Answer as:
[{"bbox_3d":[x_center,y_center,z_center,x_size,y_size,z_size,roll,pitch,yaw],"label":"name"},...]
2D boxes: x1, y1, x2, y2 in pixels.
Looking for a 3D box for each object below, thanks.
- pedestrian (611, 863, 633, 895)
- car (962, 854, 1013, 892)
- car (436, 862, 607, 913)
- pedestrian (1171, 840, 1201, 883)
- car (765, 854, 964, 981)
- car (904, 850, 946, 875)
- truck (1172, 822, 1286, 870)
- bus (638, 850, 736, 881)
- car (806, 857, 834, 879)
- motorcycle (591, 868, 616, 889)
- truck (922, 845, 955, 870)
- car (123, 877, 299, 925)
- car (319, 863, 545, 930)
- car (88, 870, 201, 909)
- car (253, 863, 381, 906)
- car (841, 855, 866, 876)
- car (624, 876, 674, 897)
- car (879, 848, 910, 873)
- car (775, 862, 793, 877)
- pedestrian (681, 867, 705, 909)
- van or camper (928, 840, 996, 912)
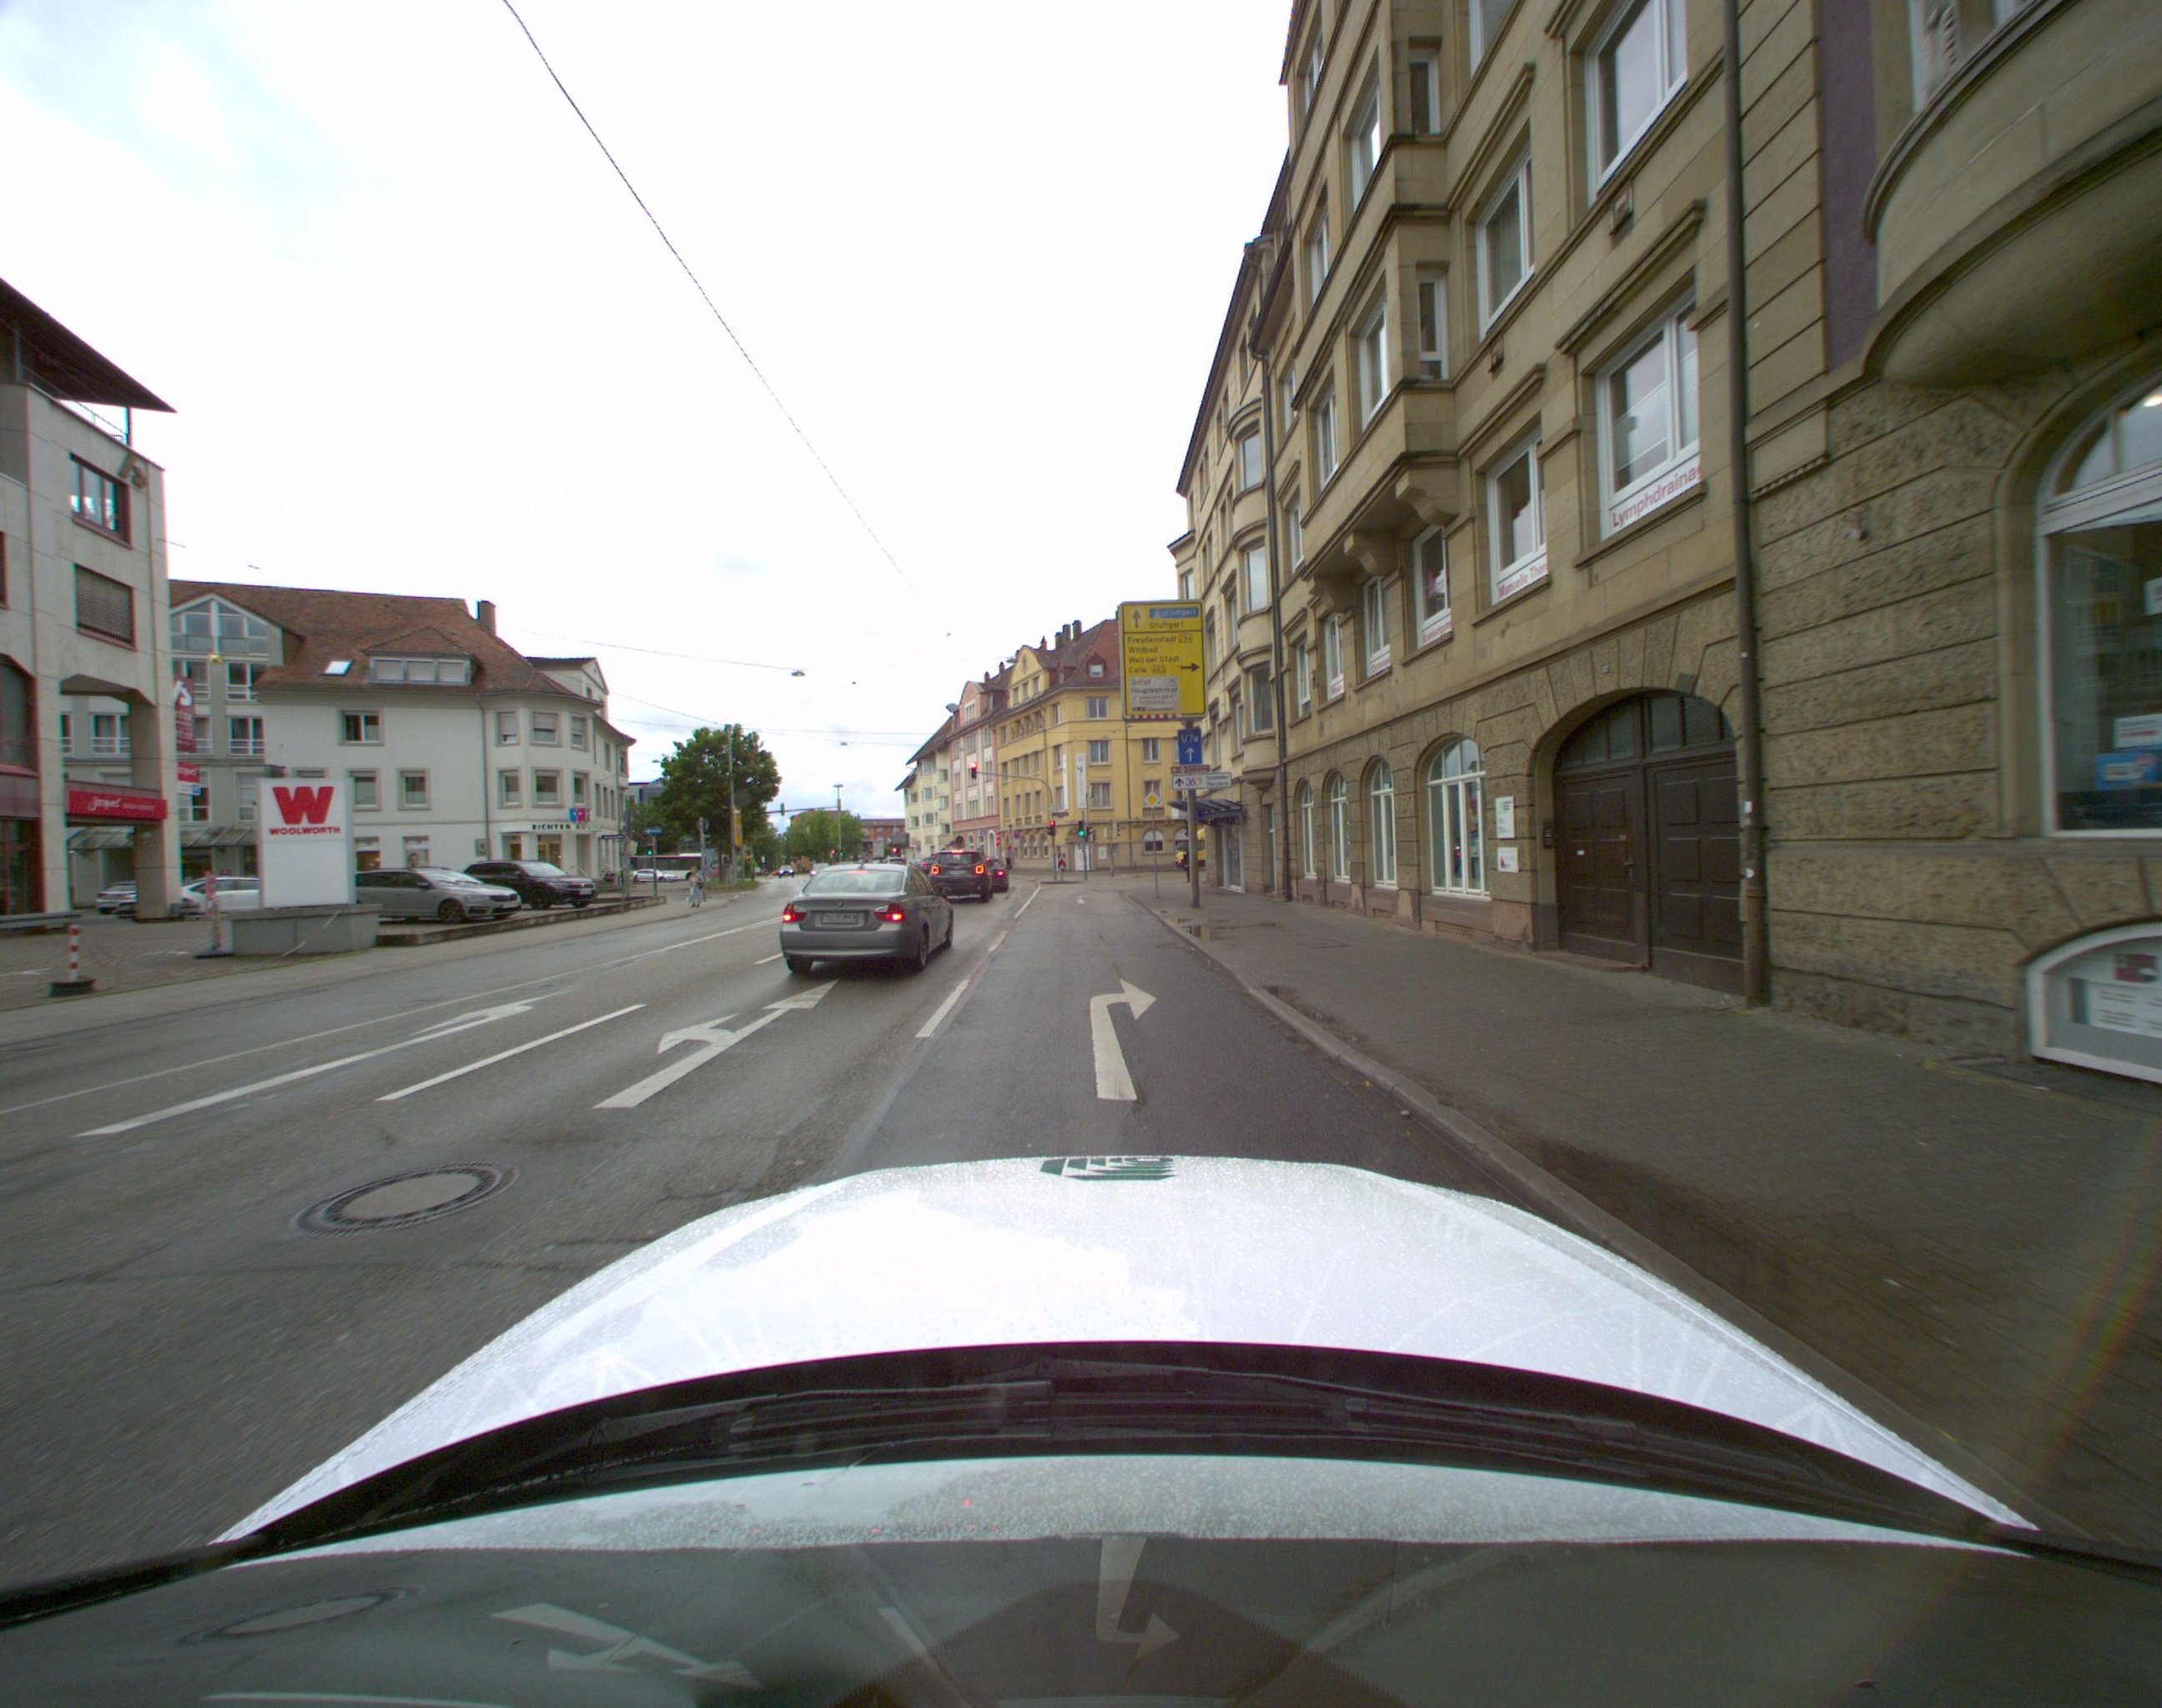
[{"bbox_3d":[-25.526,1.398,45.316,0.967,1.708,0.926,-2,1,-26],"label":"pedestrian"},{"bbox_3d":[-3.733,0.718,33.144,1.799,1.406,4.677,-1,0,-4],"label":"car"},{"bbox_3d":[-18.306,1.076,26.750,4.394,1.506,1.958,-1,0,7],"label":"car"},{"bbox_3d":[4.758,0.319,36.934,1.048,1.903,1.030,-2,1,21],"label":"pedestrian"},{"bbox_3d":[-2.877,0.767,11.841,1.794,1.464,4.368,-1,-1,-2],"label":"car"},{"bbox_3d":[-12.049,0.641,62.560,2.006,1.816,3.963,-2,0,-29],"label":"car"},{"bbox_3d":[9.734,-0.519,53.948,7.072,2.851,2.081,-2,0,-2],"label":"truck"},{"bbox_3d":[-42.334,1.168,87.701,9.086,3.105,2.917,1,1,-1],"label":"bus"},{"bbox_3d":[-20.730,1.068,64.614,1.852,1.684,3.970,0,0,-23],"label":"car"},{"bbox_3d":[-30.273,1.530,51.686,0.721,1.178,2.575,-2,1,-16],"label":"motorcycle"},{"bbox_3d":[-14.042,0.344,80.032,2.037,2.389,4.200,-1,1,-26],"label":"truck"},{"bbox_3d":[-29.576,1.554,27.857,1.566,1.500,3.773,-2,-2,14],"label":"car"},{"bbox_3d":[-17.226,1.104,21.790,4.432,1.526,1.885,-2,0,-1],"label":"car"},{"bbox_3d":[-43.510,1.611,37.962,1.877,1.590,3.969,-2,1,-23],"label":"car"},{"bbox_3d":[-36.900,1.425,39.451,4.004,1.815,1.985,-2,1,-23],"label":"car"},{"bbox_3d":[-23.619,1.179,84.609,2.002,2.013,3.970,-2,1,-23],"label":"car"},{"bbox_3d":[-42.920,3.225,81.005,3.995,1.882,1.815,-2,0,-16],"label":"car"},{"bbox_3d":[-16.382,0.569,71.554,2.002,2.013,3.970,-2,1,-22],"label":"car"},{"bbox_3d":[-38.734,2.018,106.101,1.895,1.815,3.969,-2,1,-23],"label":"car"},{"bbox_3d":[-14.512,1.263,30.471,0.763,1.529,0.505,0,-1,-22],"label":"pedestrian"},{"bbox_3d":[-3.768,0.662,26.394,1.851,2.146,4.136,1,0,-4],"label":"van or camper"}]
